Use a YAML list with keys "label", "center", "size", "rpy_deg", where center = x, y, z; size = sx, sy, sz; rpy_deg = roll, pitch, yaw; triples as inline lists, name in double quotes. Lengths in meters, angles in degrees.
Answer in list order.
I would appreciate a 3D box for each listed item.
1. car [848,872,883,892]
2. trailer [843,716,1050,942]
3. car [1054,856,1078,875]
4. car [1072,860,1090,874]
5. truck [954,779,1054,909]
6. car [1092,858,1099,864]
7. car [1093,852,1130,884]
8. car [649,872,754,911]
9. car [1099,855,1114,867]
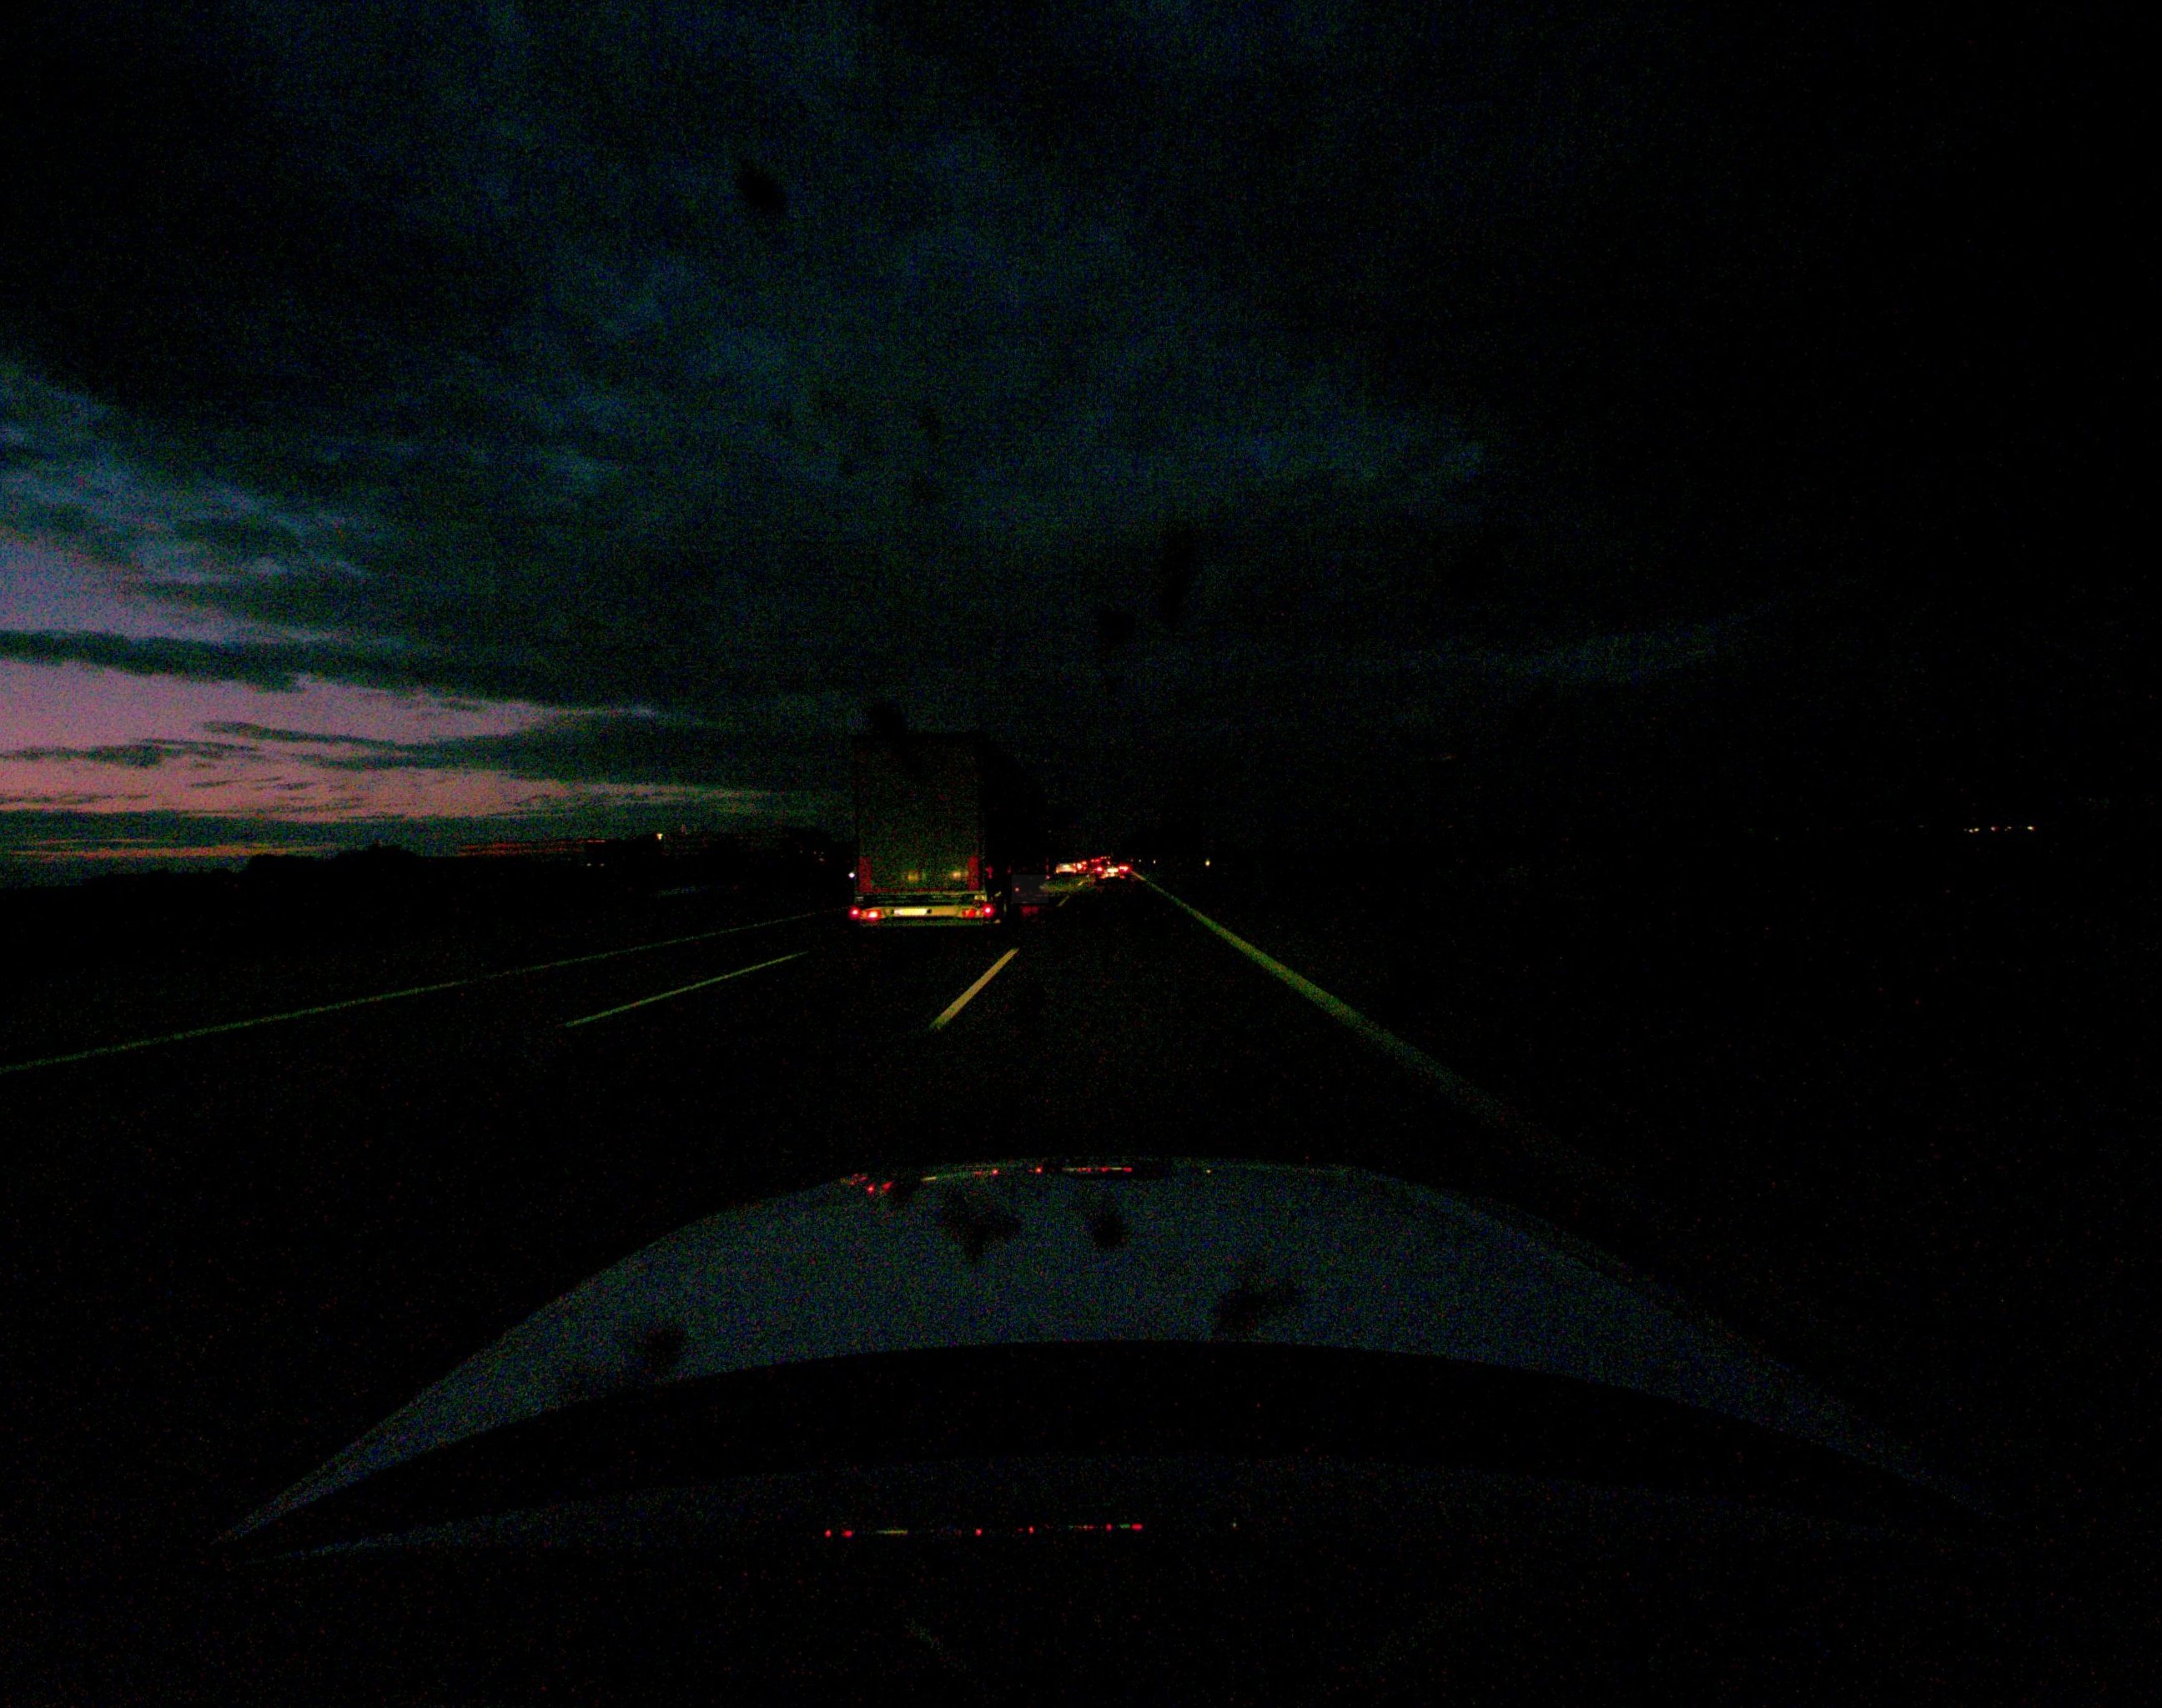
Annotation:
- label: "car"
  center: [-20.979, 2.717, 79.580]
  size: [1.986, 1.847, 4.959]
  rpy_deg: [-1, -1, 2]
- label: "trailer"
  center: [-2.757, -0.361, 22.254]
  size: [2.784, 4.085, 14.528]
  rpy_deg: [-2, -1, 1]
- label: "car"
  center: [-1.216, 0.940, 67.464]
  size: [1.737, 1.525, 4.417]
  rpy_deg: [-1, -1, 2]
- label: "car"
  center: [0.035, 1.367, 88.715]
  size: [1.716, 1.471, 4.727]
  rpy_deg: [-1, -1, 2]
- label: "truck"
  center: [-2.581, -0.289, 29.341]
  size: [2.767, 4.093, 6.104]
  rpy_deg: [-2, -1, 1]
- label: "car"
  center: [3.663, 1.695, 207.402]
  size: [1.873, 1.552, 4.001]
  rpy_deg: [-1, -1, 1]
- label: "car"
  center: [1.660, 0.732, 44.191]
  size: [1.873, 1.643, 4.001]
  rpy_deg: [-1, -1, 2]
- label: "car"
  center: [-14.334, 1.375, 31.059]
  size: [1.665, 1.300, 4.707]
  rpy_deg: [-1, -1, 2]
- label: "car"
  center: [3.376, 0.889, 106.960]
  size: [1.873, 1.552, 4.001]
  rpy_deg: [-1, -1, 1]
